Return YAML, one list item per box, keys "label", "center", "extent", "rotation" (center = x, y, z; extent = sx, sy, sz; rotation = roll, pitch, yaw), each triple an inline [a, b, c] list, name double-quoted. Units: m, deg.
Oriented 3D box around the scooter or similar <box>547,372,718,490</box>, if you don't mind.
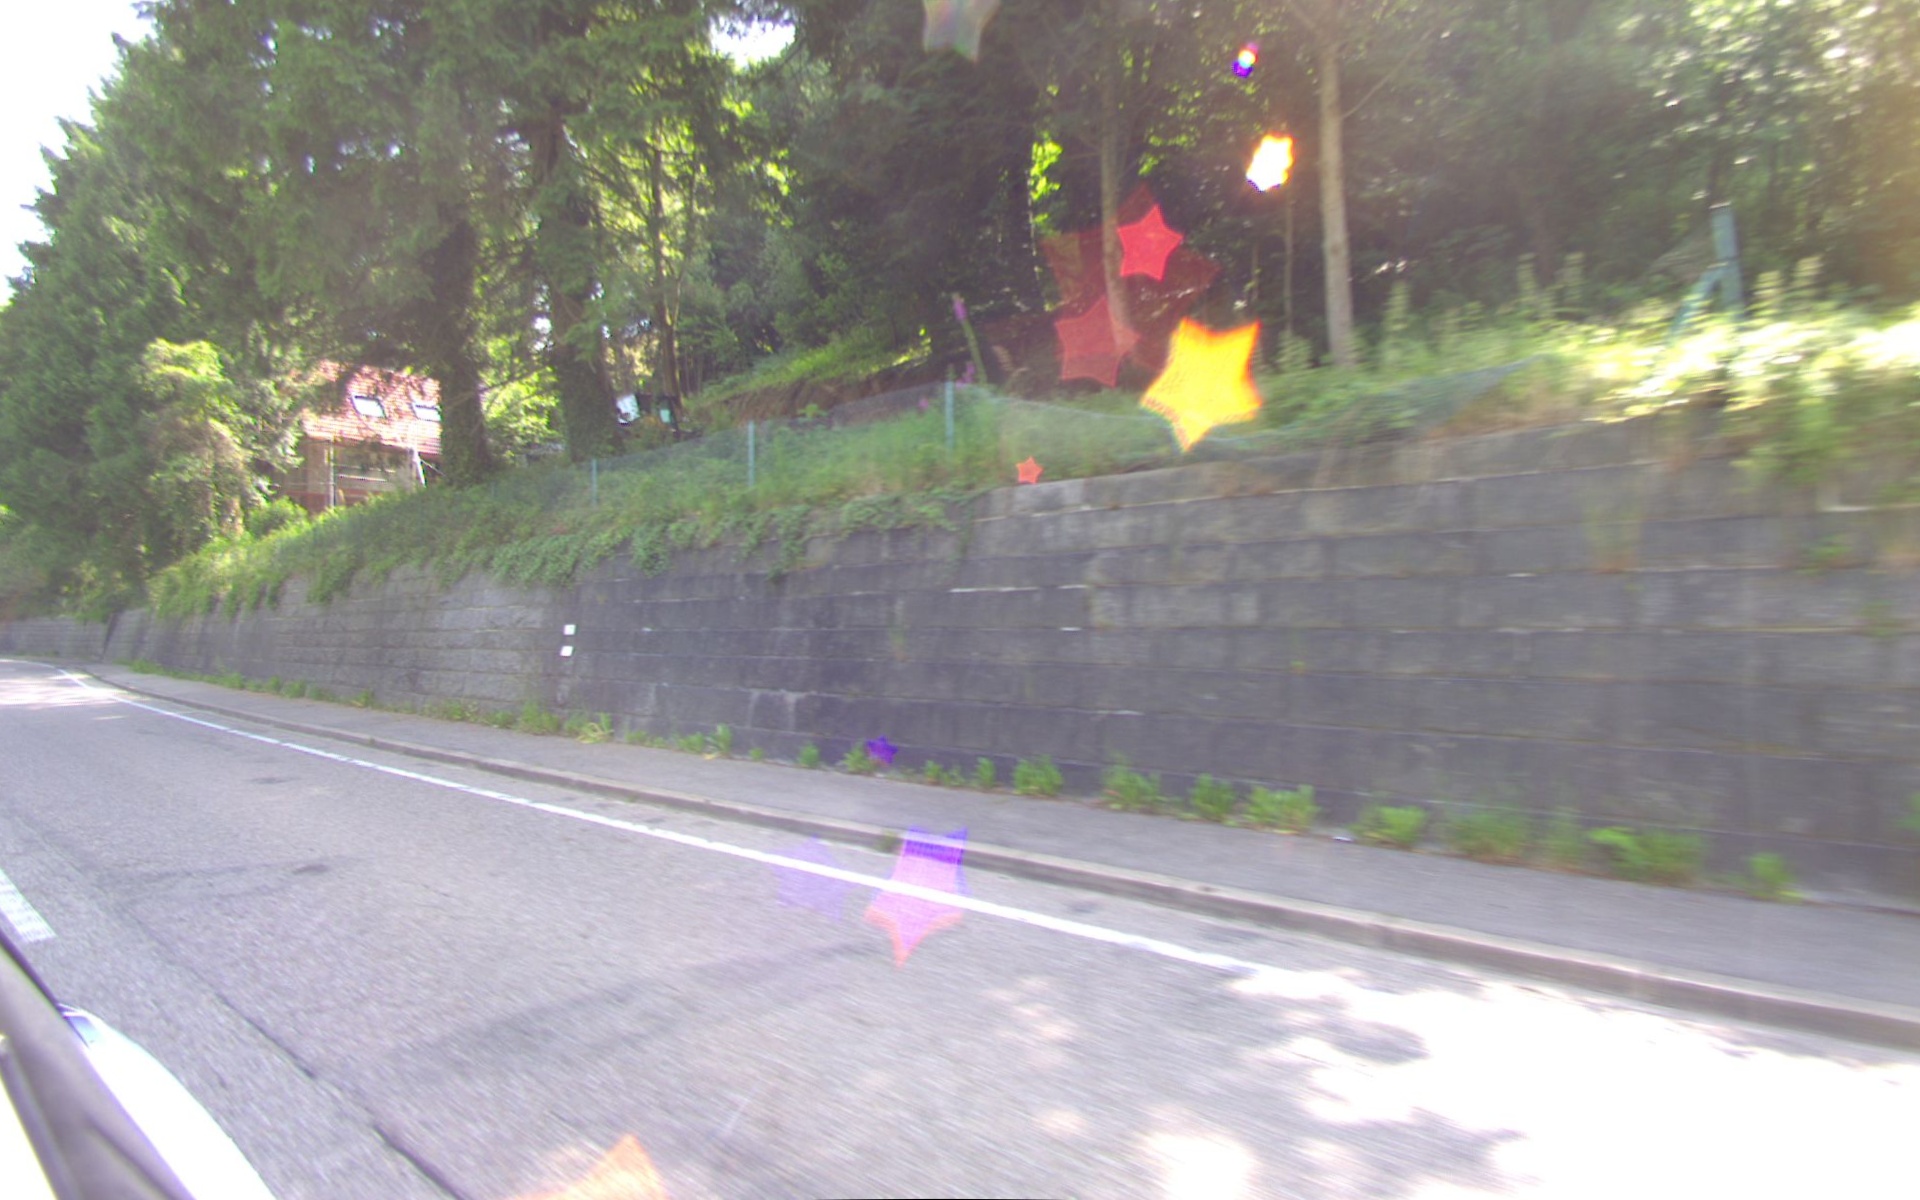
- label: "scooter or similar"
  center: [-7.741, -3.821, 23.693]
  extent: [1.955, 2.041, 4.408]
  rotation: [-5, 2, -44]
